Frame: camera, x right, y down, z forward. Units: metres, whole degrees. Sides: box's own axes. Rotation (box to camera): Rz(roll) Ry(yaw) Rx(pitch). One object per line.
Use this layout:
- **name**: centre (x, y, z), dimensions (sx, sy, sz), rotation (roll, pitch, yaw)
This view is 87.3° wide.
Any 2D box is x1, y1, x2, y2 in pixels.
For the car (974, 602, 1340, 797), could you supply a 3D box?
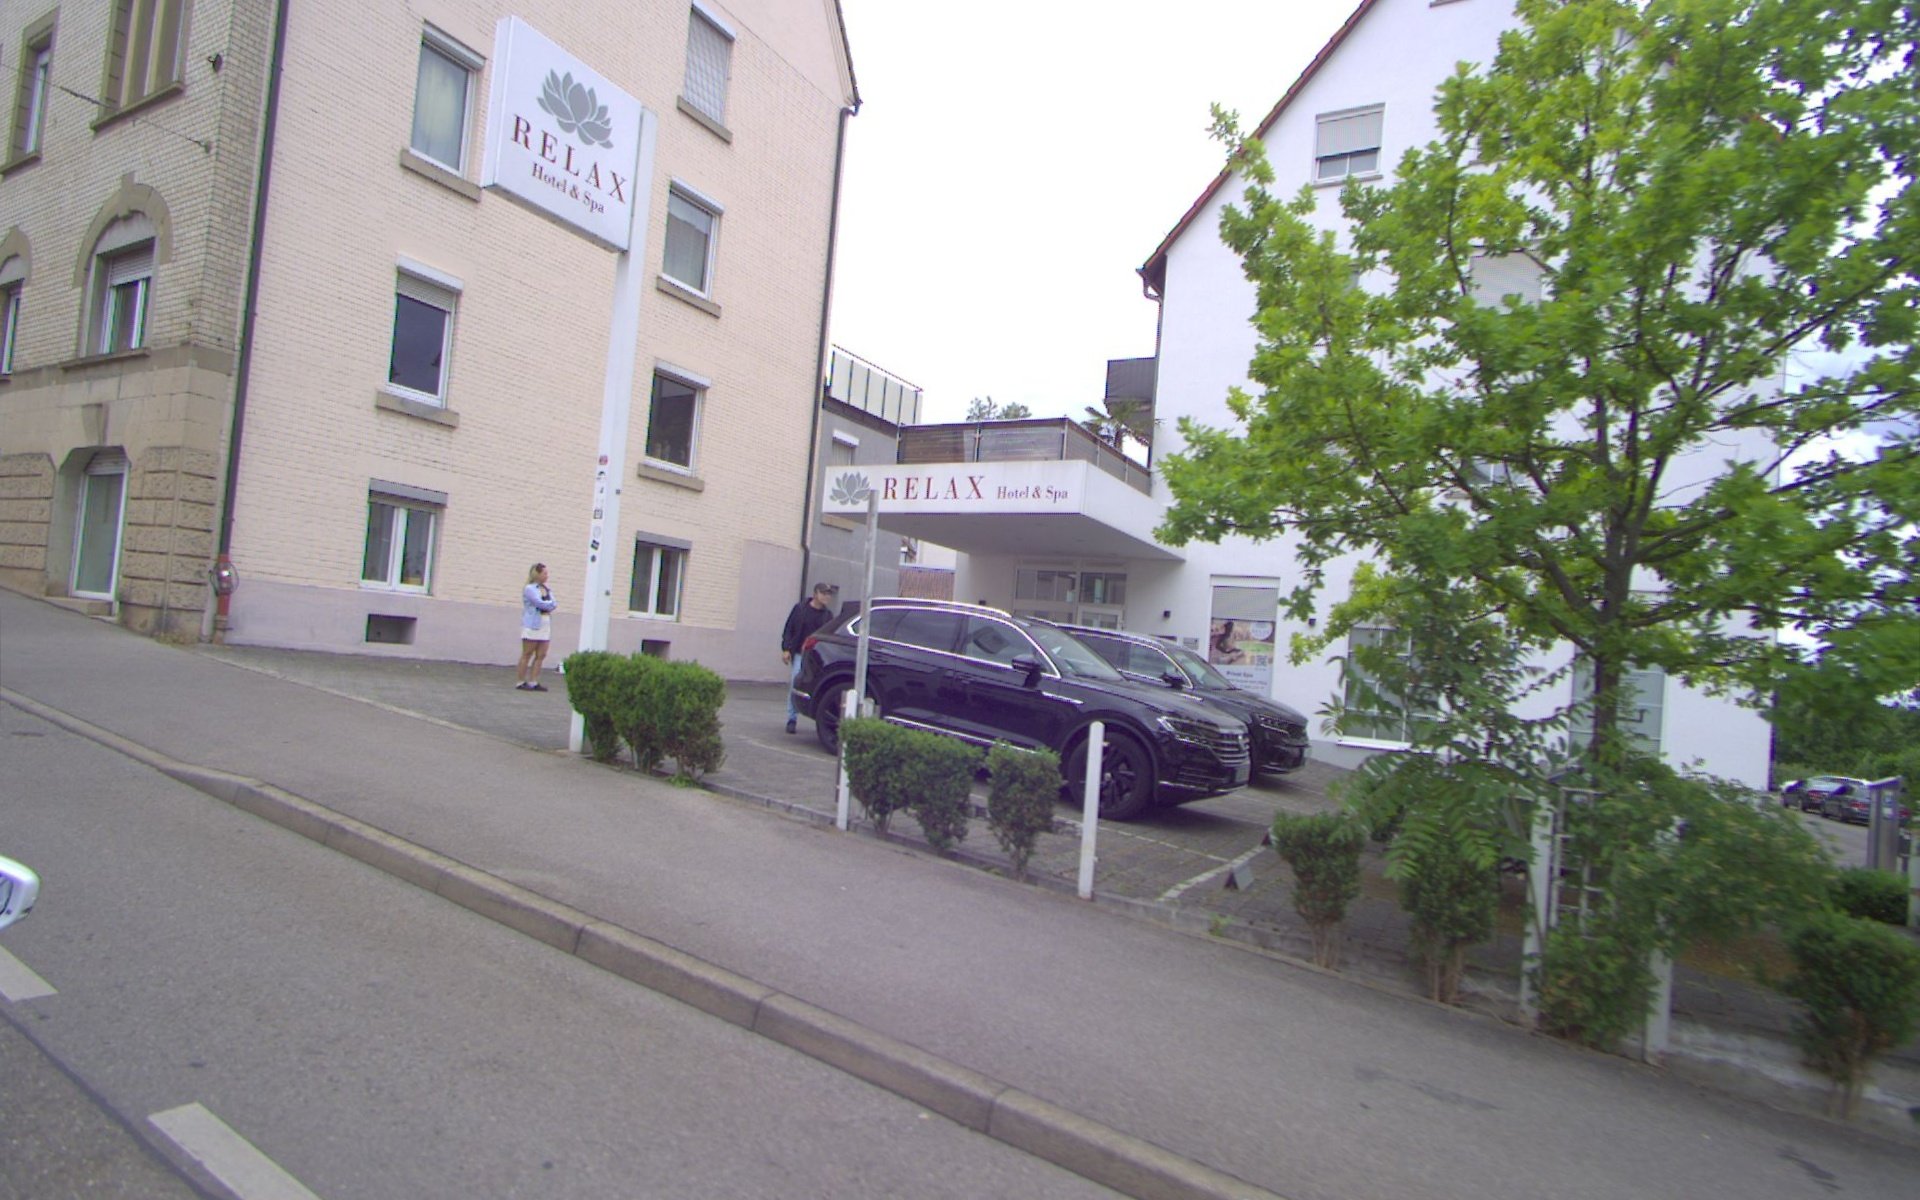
- **car**: centre (2.812, 1.350, 14.580), dimensions (4.623, 1.933, 1.999), rotation (7, -2, 30)

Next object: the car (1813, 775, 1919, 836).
- **car**: centre (33.707, 7.590, 37.527), dimensions (1.828, 1.599, 4.392), rotation (7, -3, 29)

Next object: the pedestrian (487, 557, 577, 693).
- **pedestrian**: centre (-5.371, 0.316, 12.624), dimensions (0.674, 1.600, 0.559), rotation (7, -1, 31)

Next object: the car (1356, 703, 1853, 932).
- **car**: centre (6.956, 2.264, 11.387), dimensions (4.252, 1.369, 1.916), rotation (9, -1, 30)

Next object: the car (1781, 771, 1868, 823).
- **car**: centre (36.548, 8.307, 42.642), dimensions (1.828, 1.599, 3.987), rotation (7, -3, 29)

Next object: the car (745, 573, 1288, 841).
- **car**: centre (0.485, 0.935, 10.247), dimensions (5.007, 1.702, 1.999), rotation (7, -2, 29)

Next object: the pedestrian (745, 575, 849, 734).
- **pedestrian**: centre (-1.905, 0.642, 11.796), dimensions (0.755, 1.727, 0.646), rotation (7, -1, 31)

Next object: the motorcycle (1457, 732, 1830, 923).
- **motorcycle**: centre (5.392, 1.752, 8.168), dimensions (2.345, 1.116, 0.930), rotation (3, -4, 29)
